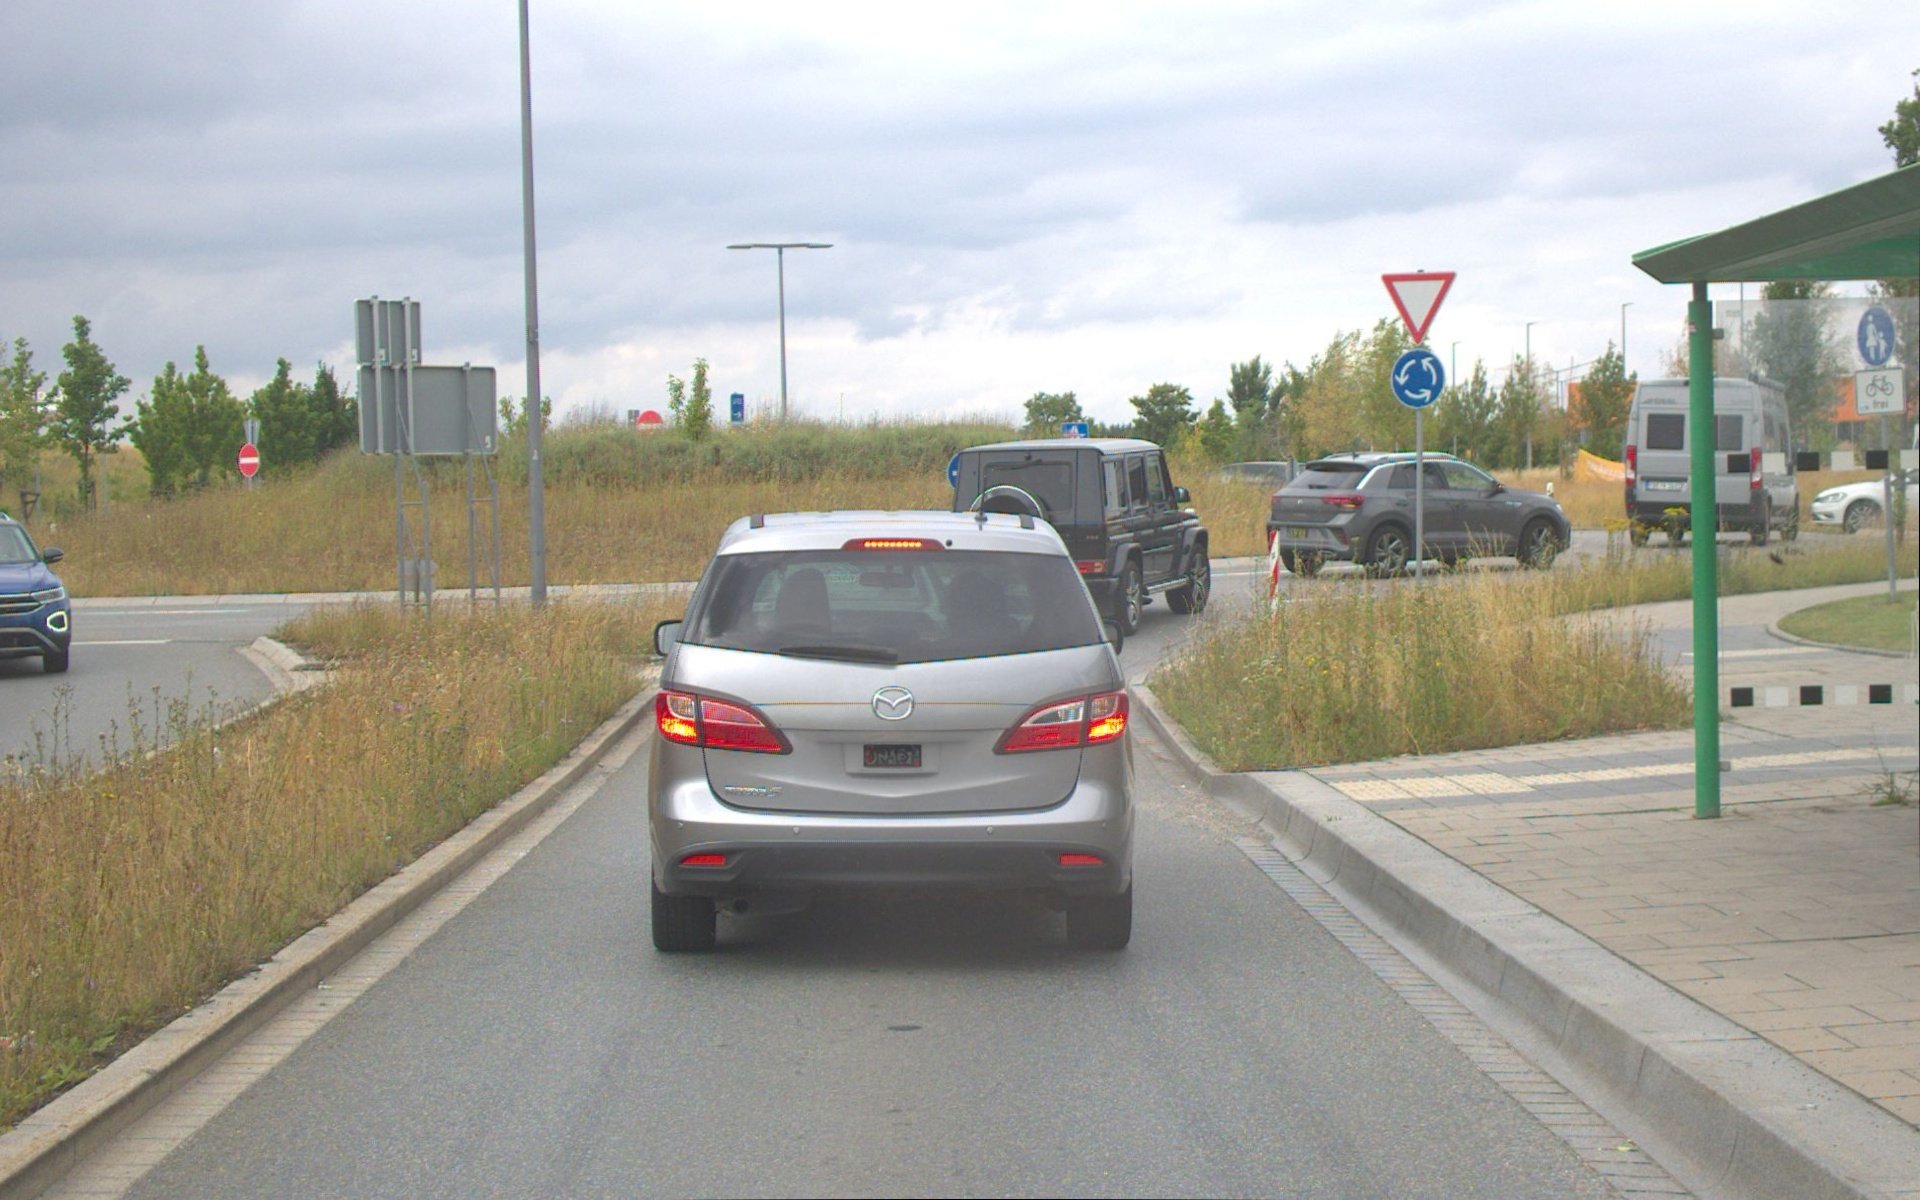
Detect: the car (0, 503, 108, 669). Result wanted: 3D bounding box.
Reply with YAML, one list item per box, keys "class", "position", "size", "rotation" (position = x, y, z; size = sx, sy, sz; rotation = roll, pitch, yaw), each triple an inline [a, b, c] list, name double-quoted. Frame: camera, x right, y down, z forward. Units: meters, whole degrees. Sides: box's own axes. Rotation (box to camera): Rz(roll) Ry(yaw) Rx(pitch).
- class: "car"
  position: [-9.892, -0.108, 34.359]
  size: [1.841, 1.523, 4.229]
  rotation: [-3, 1, -25]

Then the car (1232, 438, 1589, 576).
- class: "car"
  position: [5.801, -1.202, 44.121]
  size: [4.191, 1.587, 2.065]
  rotation: [-4, 3, -35]

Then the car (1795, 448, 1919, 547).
- class: "car"
  position: [17.627, -1.874, 62.532]
  size: [4.604, 1.751, 1.999]
  rotation: [0, 1, 10]

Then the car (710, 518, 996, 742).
- class: "car"
  position: [-0.687, 0.150, 24.906]
  size: [1.845, 1.413, 4.225]
  rotation: [-1, 2, 1]

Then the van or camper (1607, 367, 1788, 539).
- class: "van or camper"
  position: [11.424, -2.225, 52.967]
  size: [2.304, 2.497, 5.202]
  rotation: [0, 2, 17]

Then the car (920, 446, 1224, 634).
- class: "car"
  position: [1.269, -0.644, 36.071]
  size: [2.060, 1.819, 4.783]
  rotation: [0, 1, 16]

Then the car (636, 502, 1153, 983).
- class: "car"
  position: [-0.279, 0.424, 13.405]
  size: [1.729, 1.594, 3.807]
  rotation: [0, 2, -2]
